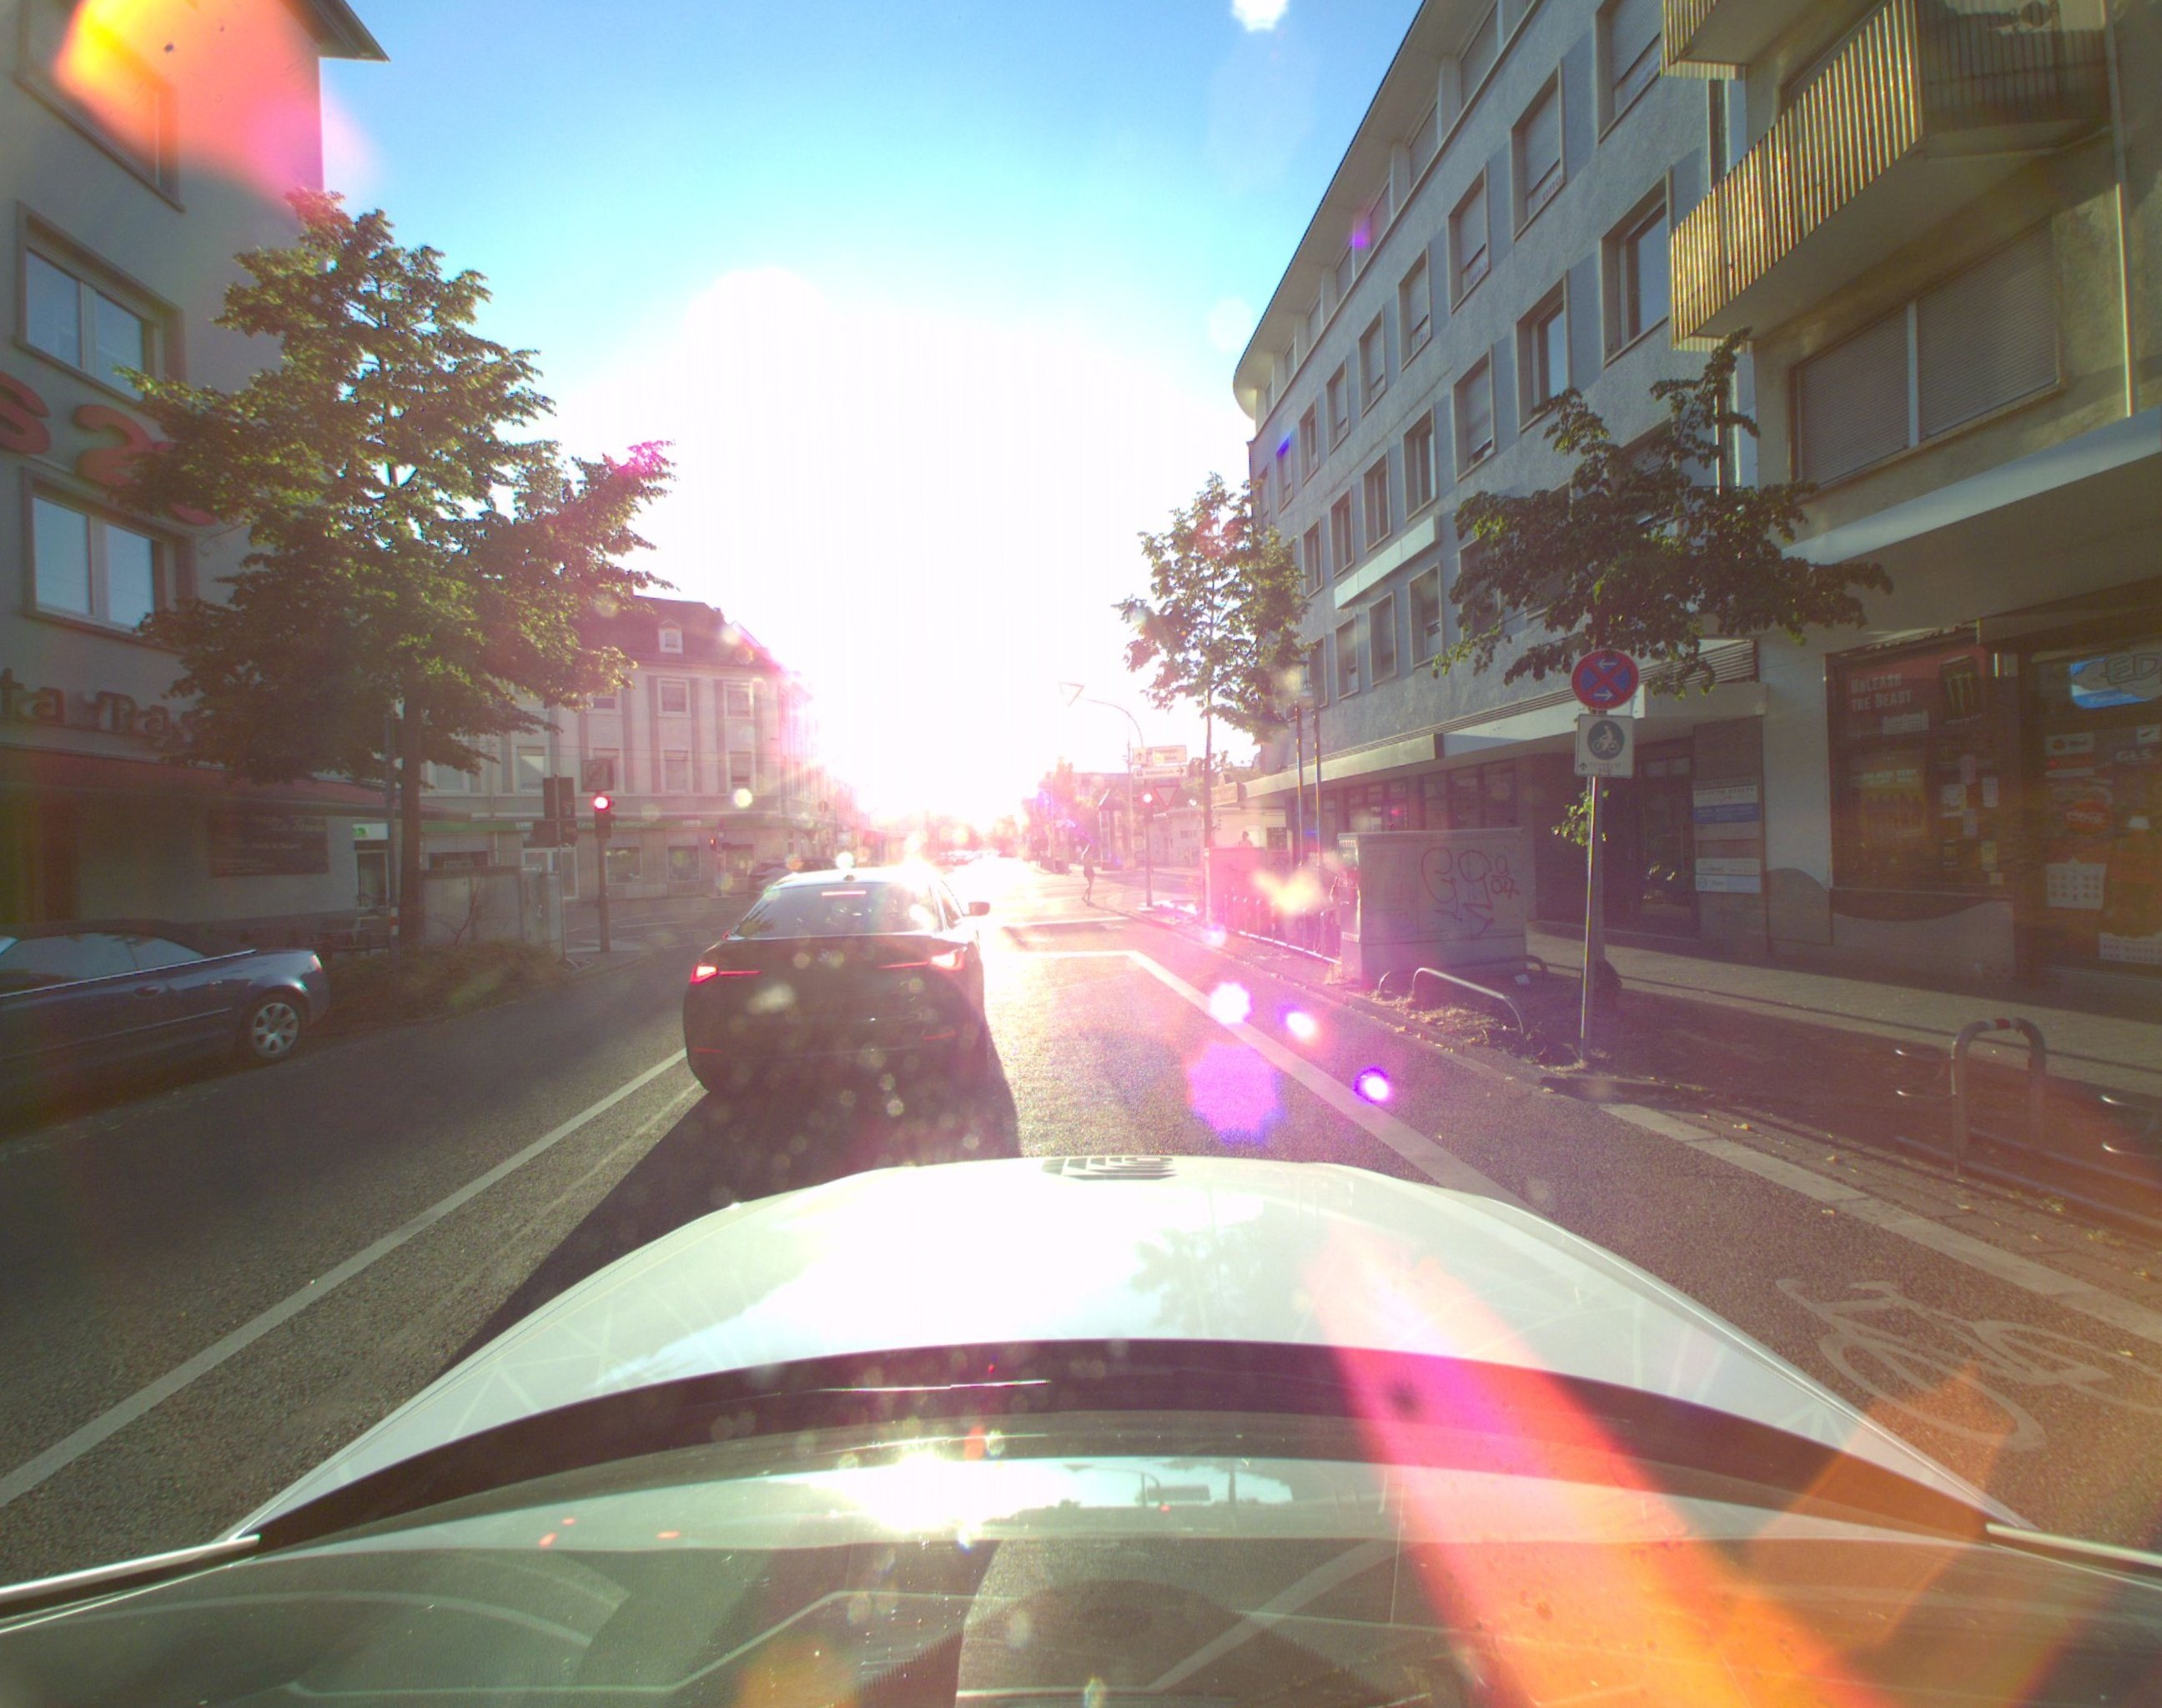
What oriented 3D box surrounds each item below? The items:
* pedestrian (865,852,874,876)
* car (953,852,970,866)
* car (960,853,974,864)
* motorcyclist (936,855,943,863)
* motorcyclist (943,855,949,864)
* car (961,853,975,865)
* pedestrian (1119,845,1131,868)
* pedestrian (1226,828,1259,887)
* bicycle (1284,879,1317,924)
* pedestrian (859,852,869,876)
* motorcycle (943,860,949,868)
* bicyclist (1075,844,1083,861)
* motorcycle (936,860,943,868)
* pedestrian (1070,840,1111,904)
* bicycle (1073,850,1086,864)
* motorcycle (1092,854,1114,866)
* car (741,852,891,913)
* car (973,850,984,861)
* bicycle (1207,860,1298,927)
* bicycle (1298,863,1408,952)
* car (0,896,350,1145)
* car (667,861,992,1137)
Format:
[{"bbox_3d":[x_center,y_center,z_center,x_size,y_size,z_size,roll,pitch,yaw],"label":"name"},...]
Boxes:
[{"bbox_3d":[-16.888,0.781,64.977,0.616,1.876,0.676,0,0,-10],"label":"pedestrian"},{"bbox_3d":[-13.957,0.607,95.185,1.816,1.519,3.992,-2,0,-6],"label":"car"},{"bbox_3d":[-17.328,0.669,123.997,1.816,1.519,3.992,-2,0,-6],"label":"car"},{"bbox_3d":[-16.460,0.602,94.748,0.574,0.915,2.196,0,0,-6],"label":"motorcyclist"},{"bbox_3d":[-15.635,0.628,94.224,0.574,0.995,0.701,0,0,-6],"label":"motorcyclist"},{"bbox_3d":[-15.720,0.669,113.588,1.816,1.519,3.992,-2,0,-6],"label":"car"},{"bbox_3d":[2.873,0.150,53.349,0.729,1.529,0.473,0,0,5],"label":"pedestrian"},{"bbox_3d":[5.264,0.113,26.562,0.834,1.841,0.677,-2,0,-6],"label":"pedestrian"},{"bbox_3d":[4.139,0.882,15.421,0.249,0.796,1.114,0,0,-4],"label":"bicycle"},{"bbox_3d":[-17.053,0.783,63.896,0.642,1.876,0.630,0,0,-7],"label":"pedestrian"},{"bbox_3d":[-15.648,1.160,94.321,0.574,0.915,2.196,0,0,-6],"label":"motorcycle"},{"bbox_3d":[-0.170,-0.155,71.706,0.551,1.481,0.719,-1,-1,-15],"label":"bicyclist"},{"bbox_3d":[-16.453,1.166,94.732,0.574,0.915,2.196,0,0,-6],"label":"motorcycle"},{"bbox_3d":[0.285,0.534,24.457,1.006,1.860,0.634,-1,0,-27],"label":"pedestrian"},{"bbox_3d":[-0.137,0.278,71.592,0.551,1.159,2.133,-1,-1,-14],"label":"bicycle"},{"bbox_3d":[1.830,0.492,68.065,1.673,0.939,0.851,-2,0,-18],"label":"motorcycle"},{"bbox_3d":[-8.613,0.858,26.585,4.307,1.707,1.787,-2,1,-32],"label":"car"},{"bbox_3d":[-18.874,0.230,150.100,1.768,1.848,3.994,-2,0,-4],"label":"car"},{"bbox_3d":[3.196,0.730,15.205,1.610,1.171,0.318,-2,0,-5],"label":"bicycle"},{"bbox_3d":[3.828,0.741,11.494,1.438,1.220,0.383,0,0,-5],"label":"bicycle"},{"bbox_3d":[-7.640,1.156,5.545,1.721,1.415,4.270,-4,0,-7],"label":"car"},{"bbox_3d":[-1.646,0.808,6.652,1.735,1.428,4.213,-1,0,-7],"label":"car"}]
